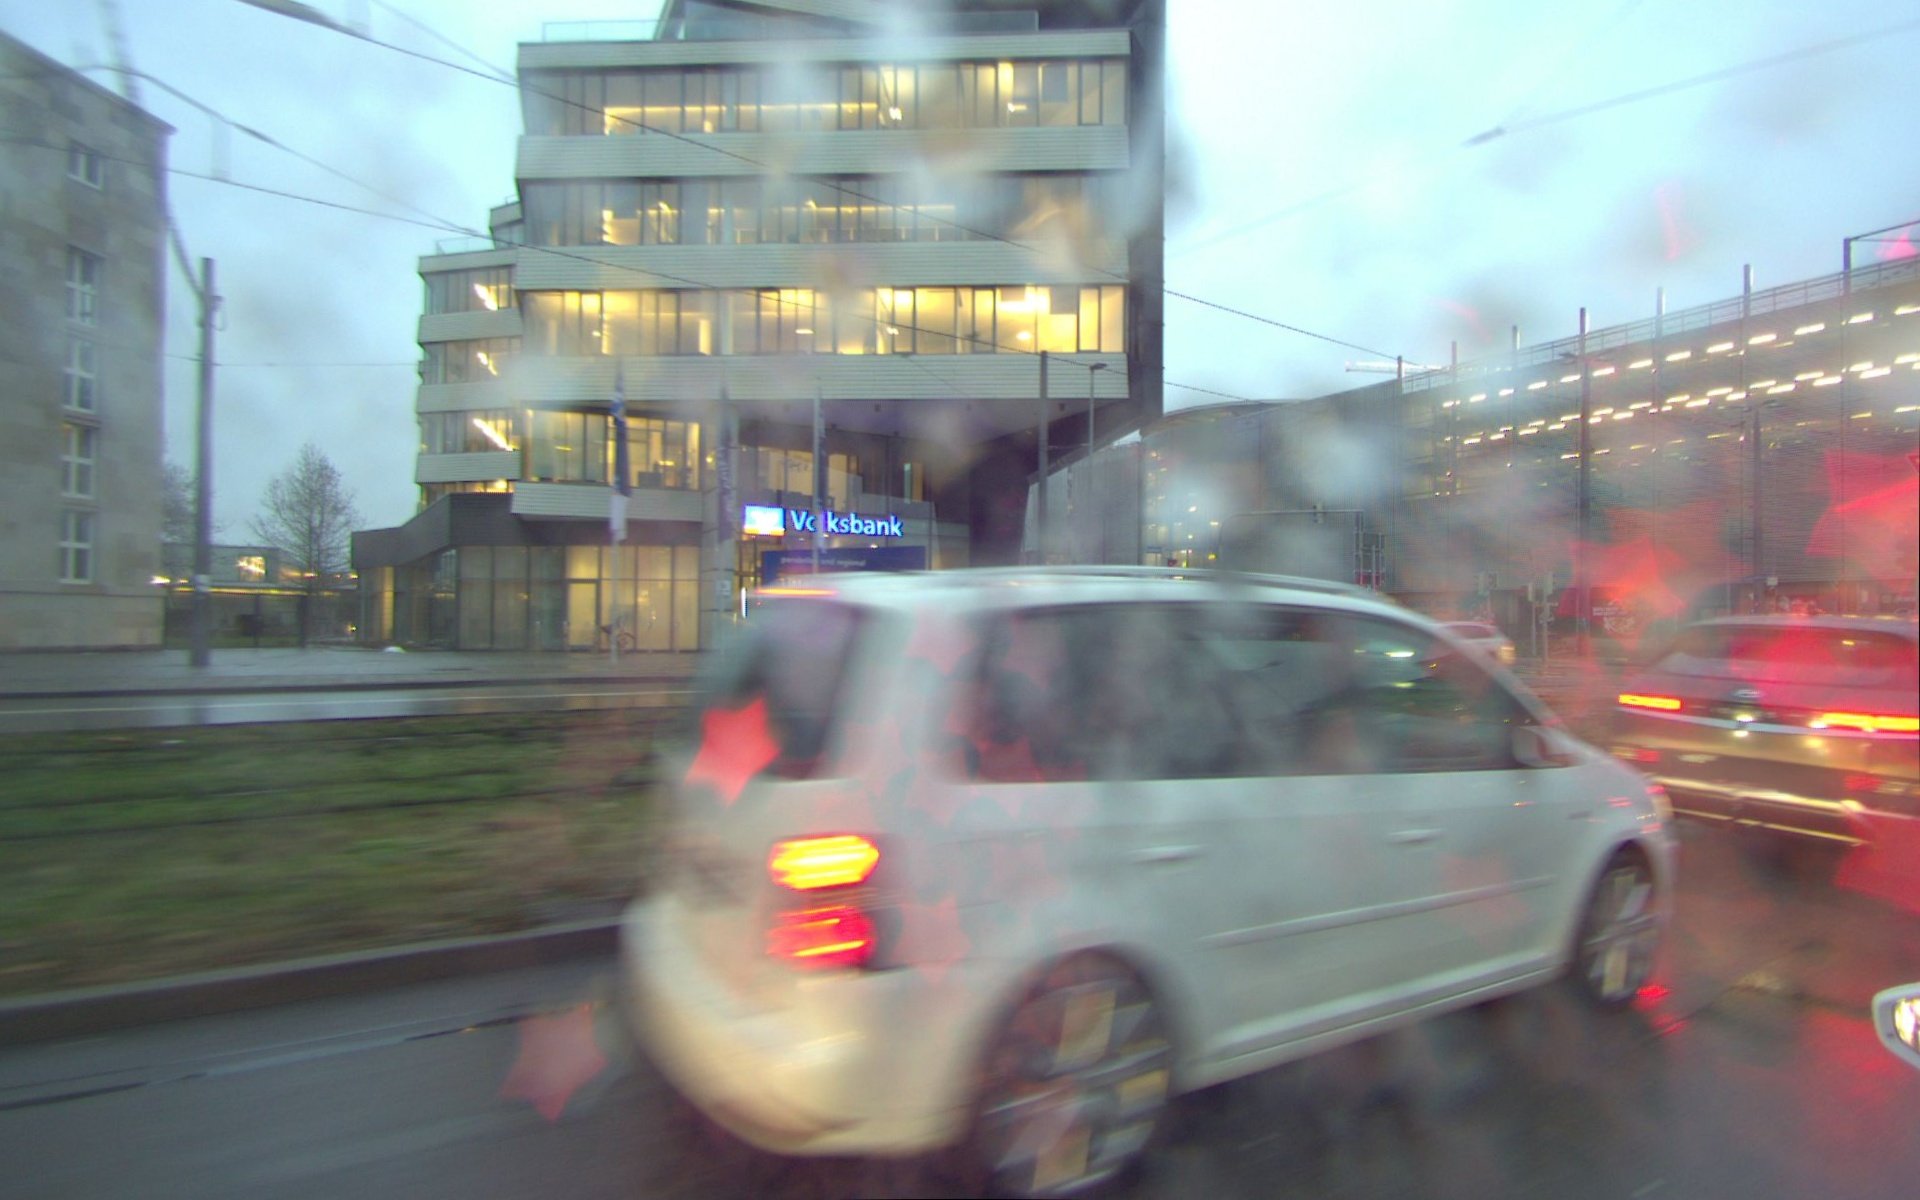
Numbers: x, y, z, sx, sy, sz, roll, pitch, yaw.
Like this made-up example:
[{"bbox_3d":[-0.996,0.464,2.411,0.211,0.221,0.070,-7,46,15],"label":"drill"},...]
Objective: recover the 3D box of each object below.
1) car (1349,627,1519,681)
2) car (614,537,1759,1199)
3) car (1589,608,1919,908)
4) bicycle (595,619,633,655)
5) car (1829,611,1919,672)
[{"bbox_3d":[13.149,1.483,27.869,4.407,1.404,1.639,1,-2,-19],"label":"car"},{"bbox_3d":[1.038,0.720,3.765,4.173,1.620,1.663,1,0,-30],"label":"car"},{"bbox_3d":[6.469,0.898,7.187,4.318,1.591,1.809,1,-2,-35],"label":"car"},{"bbox_3d":[-11.194,1.194,32.544,0.518,1.142,1.499,0,-1,8],"label":"bicycle"},{"bbox_3d":[30.962,1.326,32.221,4.870,1.896,1.903,1,-1,-7],"label":"car"}]
